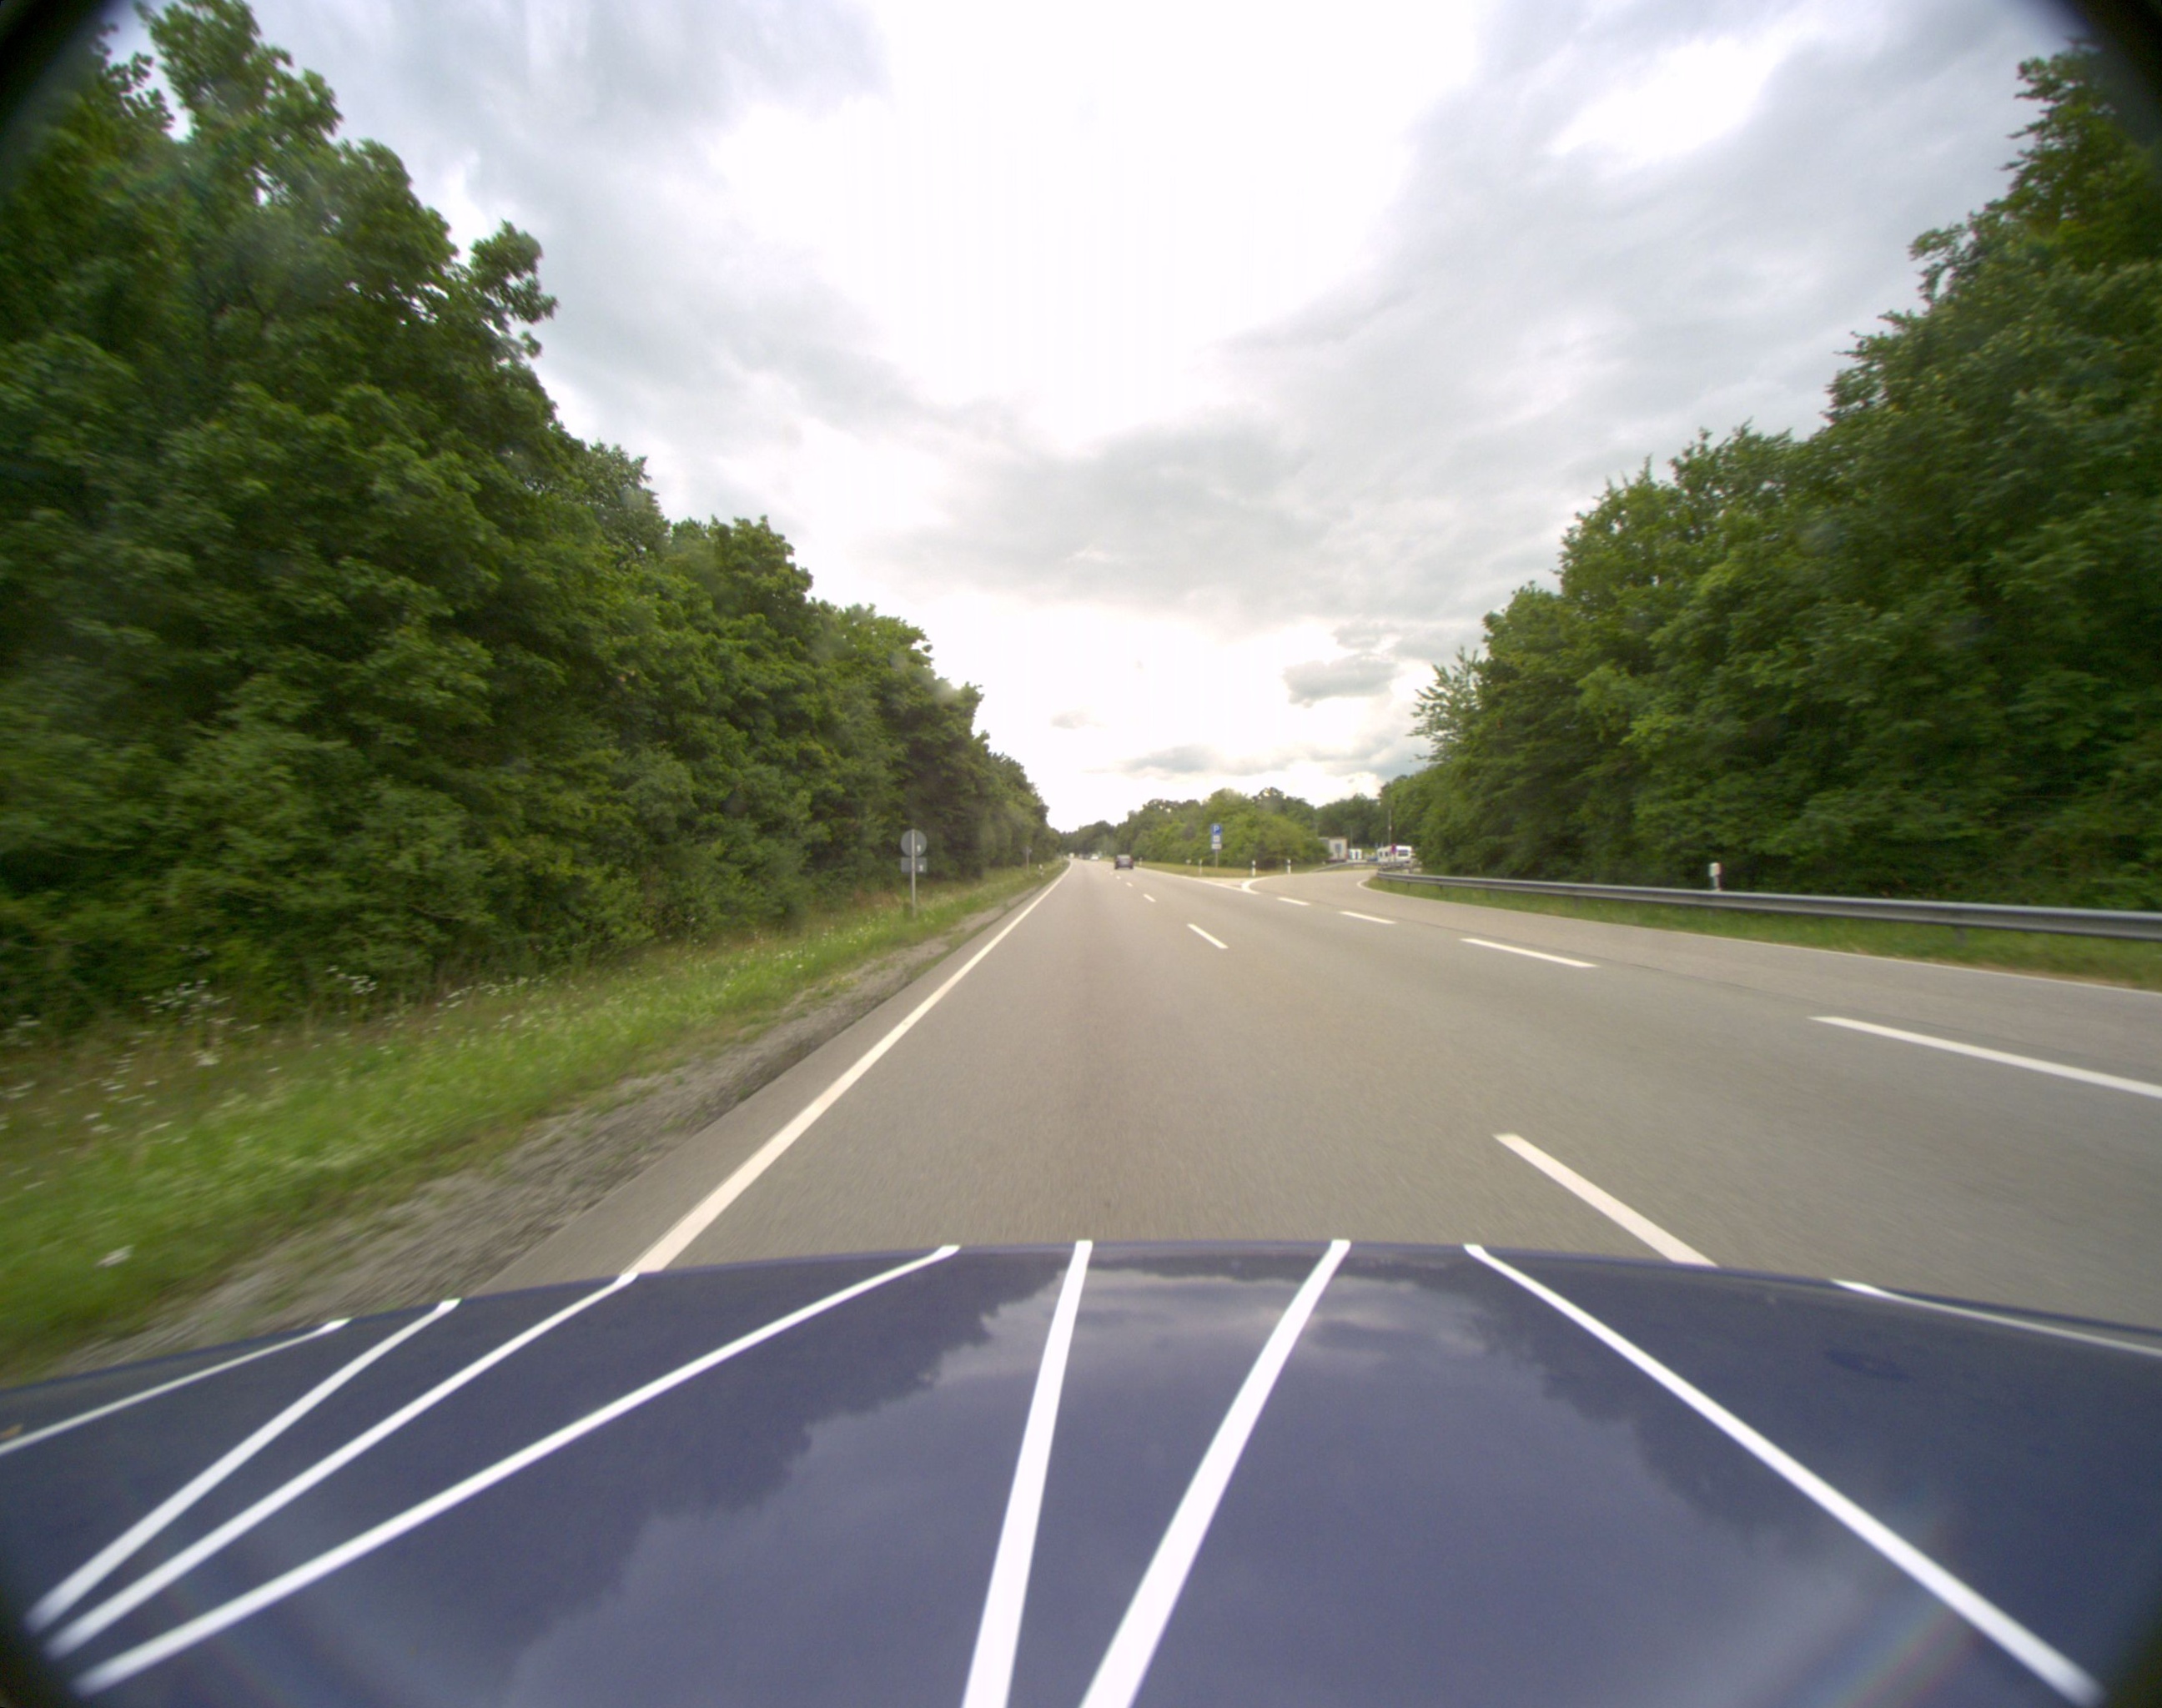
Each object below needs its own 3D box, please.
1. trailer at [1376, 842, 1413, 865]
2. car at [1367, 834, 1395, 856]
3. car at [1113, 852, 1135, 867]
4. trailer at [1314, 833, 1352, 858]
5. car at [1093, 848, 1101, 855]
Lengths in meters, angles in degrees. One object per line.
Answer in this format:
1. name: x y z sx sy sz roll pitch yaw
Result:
1. trailer: 42.314 -0.045 102.779 2.485 2.947 7.395 -2 0 5
2. car: 42.814 -1.239 108.531 2.403 2.944 4.602 -2 0 5
3. car: 4.446 0.551 79.255 1.813 1.433 4.446 -2 0 -2
4. trailer: 35.570 -1.200 107.261 4.688 3.234 2.000 -2 1 0
5. car: 4.094 -0.640 197.180 1.918 1.770 4.611 -2 0 -1
